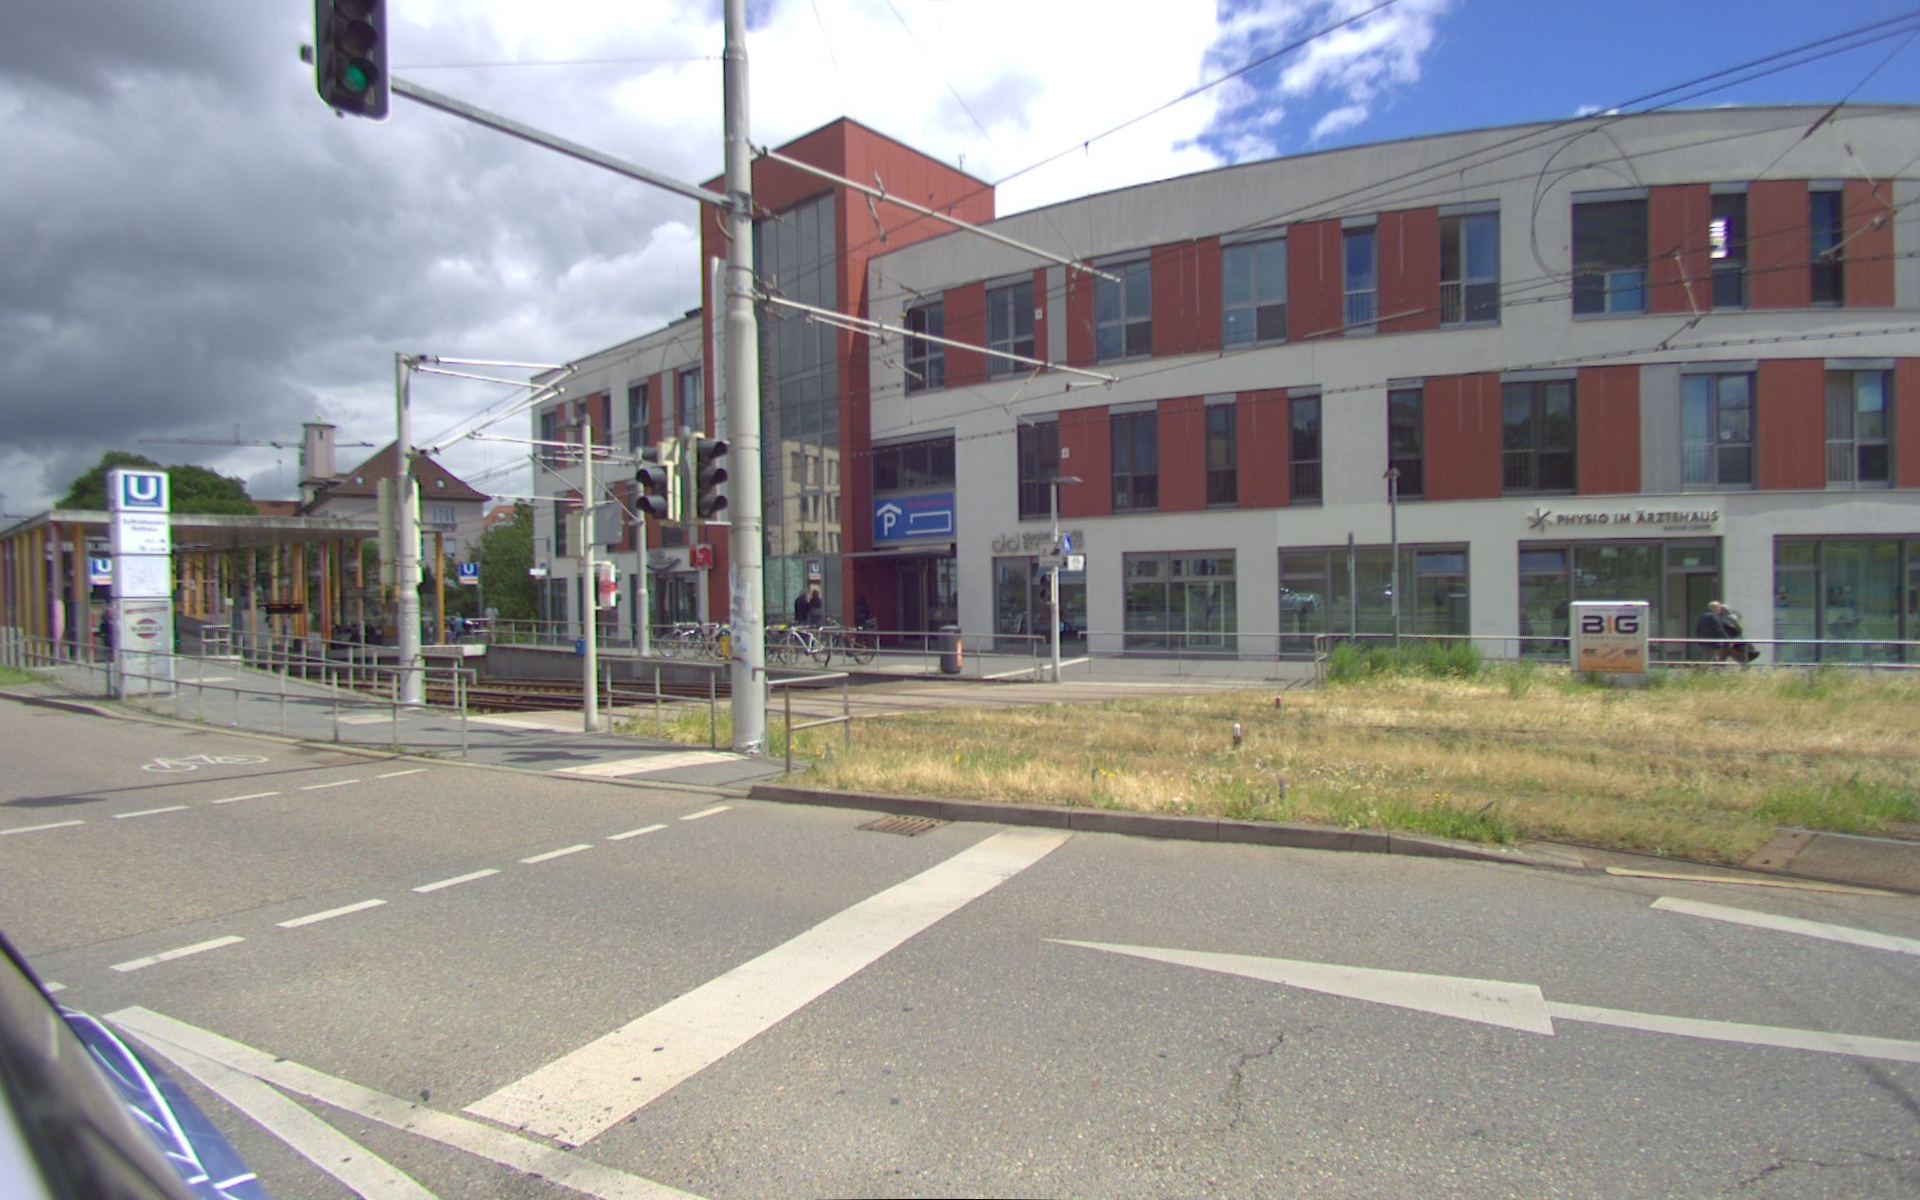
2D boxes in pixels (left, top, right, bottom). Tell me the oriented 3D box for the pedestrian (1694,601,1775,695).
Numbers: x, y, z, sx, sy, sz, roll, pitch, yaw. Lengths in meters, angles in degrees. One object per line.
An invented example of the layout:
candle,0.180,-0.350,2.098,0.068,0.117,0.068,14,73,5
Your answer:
pedestrian,16.837,1.025,22.035,1.104,1.983,0.862,0,-1,10

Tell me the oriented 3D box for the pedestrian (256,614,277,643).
pedestrian,-50.670,2.072,73.977,1.112,2.029,1.180,0,-2,-44

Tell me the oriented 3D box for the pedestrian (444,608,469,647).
pedestrian,-25.611,1.396,51.482,0.852,1.983,1.107,1,-1,-44

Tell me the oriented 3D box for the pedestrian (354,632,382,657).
pedestrian,-28.551,2.129,48.795,0.886,1.143,0.931,-2,-1,42

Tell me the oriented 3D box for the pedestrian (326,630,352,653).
pedestrian,-31.542,2.111,51.416,0.886,1.143,0.931,-2,-1,42

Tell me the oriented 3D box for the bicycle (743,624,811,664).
bicycle,-4.740,1.126,26.338,0.454,0.970,1.837,-1,0,43

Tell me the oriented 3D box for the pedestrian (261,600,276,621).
pedestrian,-65.204,0.994,95.423,1.108,2.029,1.664,0,-1,-36

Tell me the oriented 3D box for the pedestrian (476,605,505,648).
pedestrian,-21.660,1.217,46.684,1.106,1.983,0.852,0,-1,43

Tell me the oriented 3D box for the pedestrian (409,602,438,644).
pedestrian,-25.566,1.100,48.229,1.105,1.983,0.853,0,-1,39

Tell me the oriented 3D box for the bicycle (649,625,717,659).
bicycle,-7.877,1.190,28.833,1.834,0.888,0.455,0,0,-41

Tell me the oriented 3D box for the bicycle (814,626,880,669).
bicycle,-2.738,1.138,24.673,0.428,0.959,1.716,-1,0,43

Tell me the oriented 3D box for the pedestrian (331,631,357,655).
pedestrian,-30.806,2.135,50.622,0.886,1.143,0.931,-2,-1,42

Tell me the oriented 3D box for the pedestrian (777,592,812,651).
pedestrian,-5.313,0.664,32.483,0.856,1.859,0.876,0,1,13

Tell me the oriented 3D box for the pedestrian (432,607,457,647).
pedestrian,-26.017,1.355,51.084,0.852,1.983,1.107,1,-1,-44

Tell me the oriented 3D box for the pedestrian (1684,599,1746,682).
pedestrian,14.773,0.790,19.818,0.684,1.592,0.732,-1,-1,12

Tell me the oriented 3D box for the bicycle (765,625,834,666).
bicycle,-4.057,1.137,25.703,0.454,0.942,1.837,-1,0,43

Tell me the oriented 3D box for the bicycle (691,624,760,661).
bicycle,-6.371,1.150,27.586,1.835,0.929,0.455,0,0,-42

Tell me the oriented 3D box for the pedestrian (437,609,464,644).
pedestrian,-29.733,1.530,59.052,1.096,1.983,0.860,0,-1,17

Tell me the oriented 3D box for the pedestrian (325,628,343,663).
pedestrian,-36.122,2.614,58.369,0.761,2.029,0.616,-2,-1,34

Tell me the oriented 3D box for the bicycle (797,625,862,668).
bicycle,-3.226,1.137,25.076,0.428,0.965,1.716,-1,0,43

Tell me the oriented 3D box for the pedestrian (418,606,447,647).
pedestrian,-25.349,1.265,48.632,1.105,1.983,0.853,0,-1,39

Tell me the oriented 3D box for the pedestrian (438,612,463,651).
pedestrian,-26.806,1.646,53.255,0.852,1.983,1.107,1,-1,-44

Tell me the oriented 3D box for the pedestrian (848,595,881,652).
pedestrian,-2.888,0.701,30.459,0.920,1.711,0.790,1,-1,-10

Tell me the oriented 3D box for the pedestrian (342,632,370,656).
pedestrian,-29.399,2.129,49.269,0.886,1.143,0.931,-2,-1,42

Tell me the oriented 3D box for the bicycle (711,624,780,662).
bicycle,-5.698,1.137,26.986,1.836,0.946,0.455,0,0,-45

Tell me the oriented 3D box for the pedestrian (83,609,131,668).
pedestrian,-28.270,1.258,33.539,0.864,1.929,1.090,0,-1,42

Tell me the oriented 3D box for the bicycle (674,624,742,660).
bicycle,-6.984,1.153,28.145,1.835,0.939,0.455,0,0,-41

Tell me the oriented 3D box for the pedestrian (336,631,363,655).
pedestrian,-30.116,2.132,49.904,0.886,1.143,0.931,-2,-1,42
